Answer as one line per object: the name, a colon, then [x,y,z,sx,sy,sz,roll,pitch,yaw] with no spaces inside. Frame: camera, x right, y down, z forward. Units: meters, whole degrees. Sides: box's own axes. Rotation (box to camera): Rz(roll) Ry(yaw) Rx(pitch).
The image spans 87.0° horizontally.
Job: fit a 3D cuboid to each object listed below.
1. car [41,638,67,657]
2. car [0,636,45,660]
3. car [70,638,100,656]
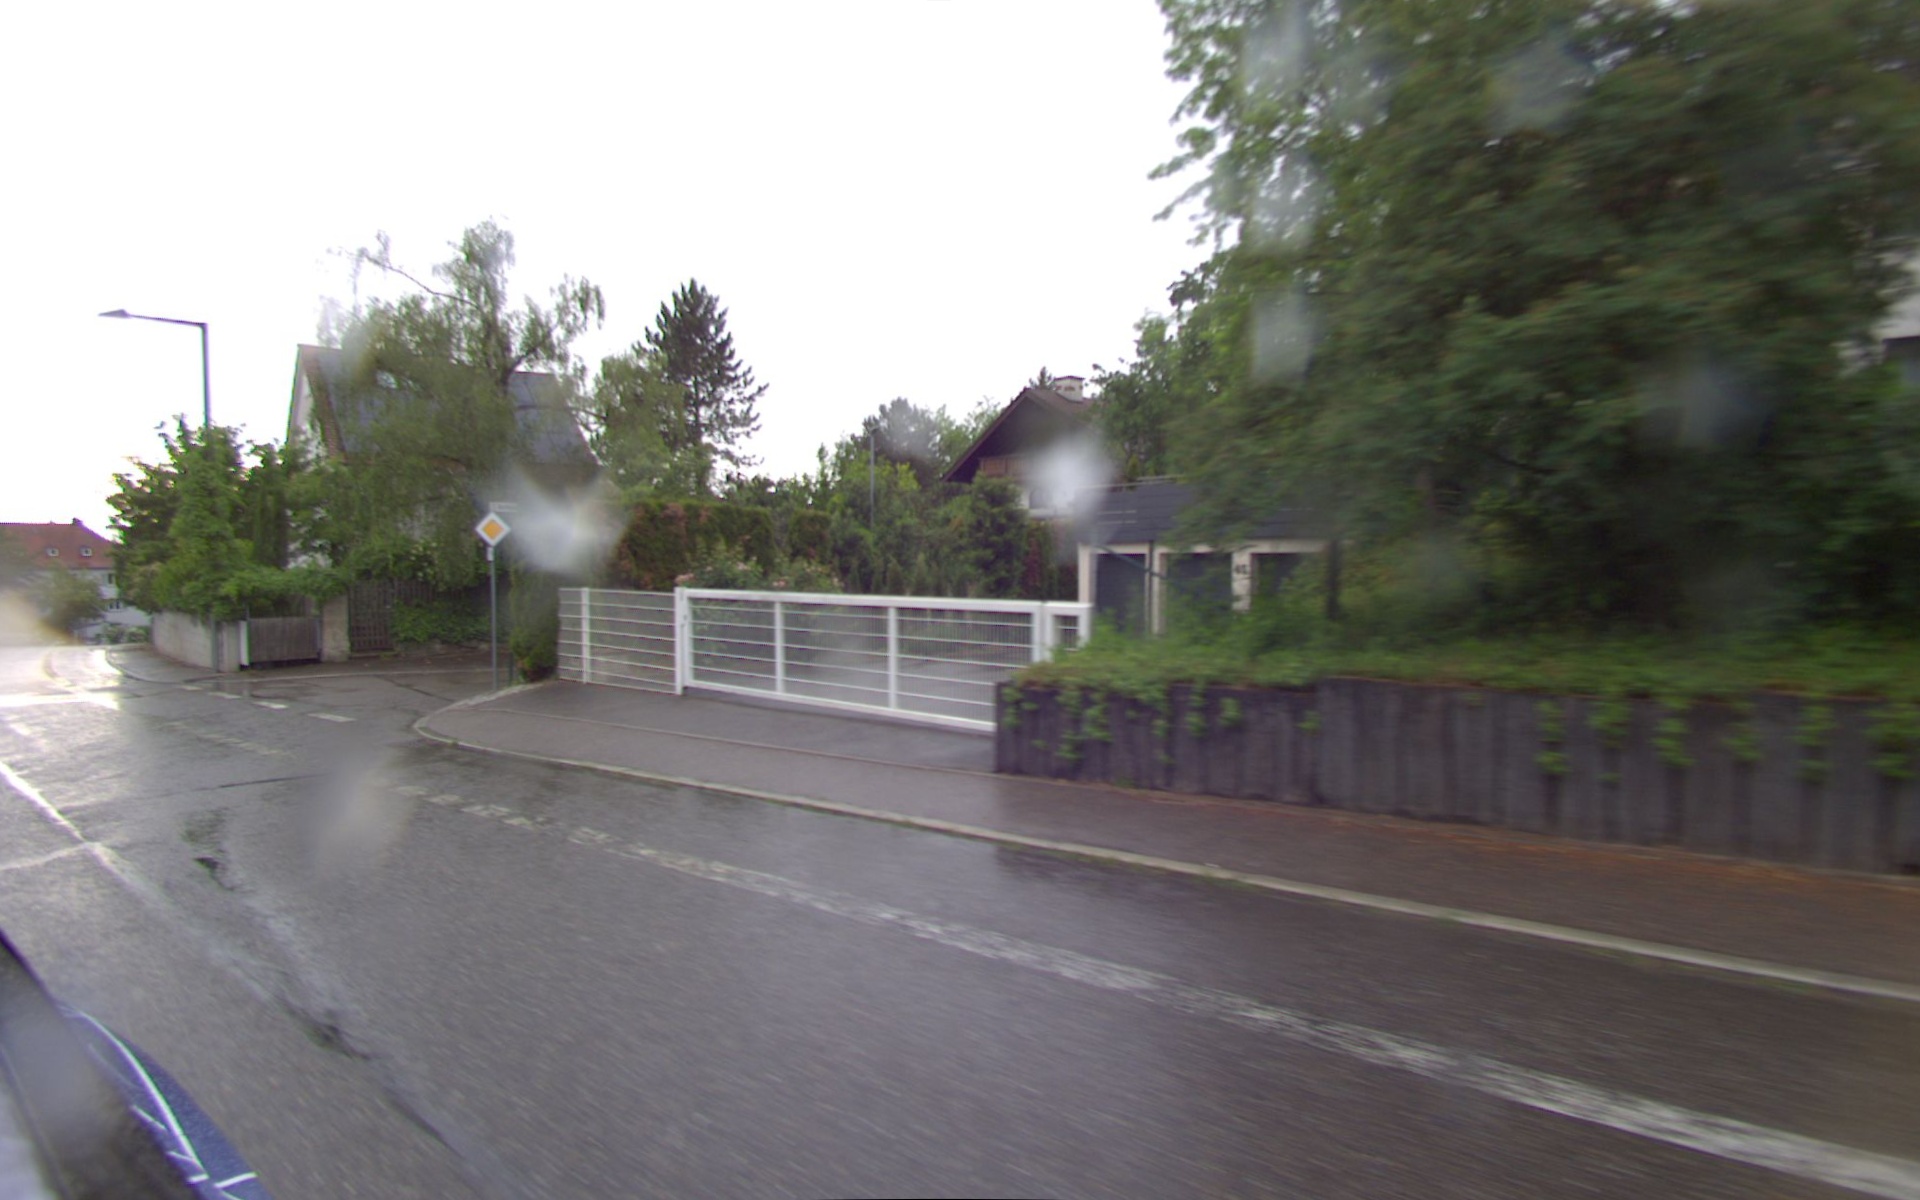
car: [-90.910,4.735,101.526,1.770,1.605,4.260,3,-1,-44]
car: [-68.514,3.466,72.359,4.467,1.673,1.859,0,-4,-38]
car: [-89.578,4.815,103.594,3.793,1.575,1.701,2,-1,41]
